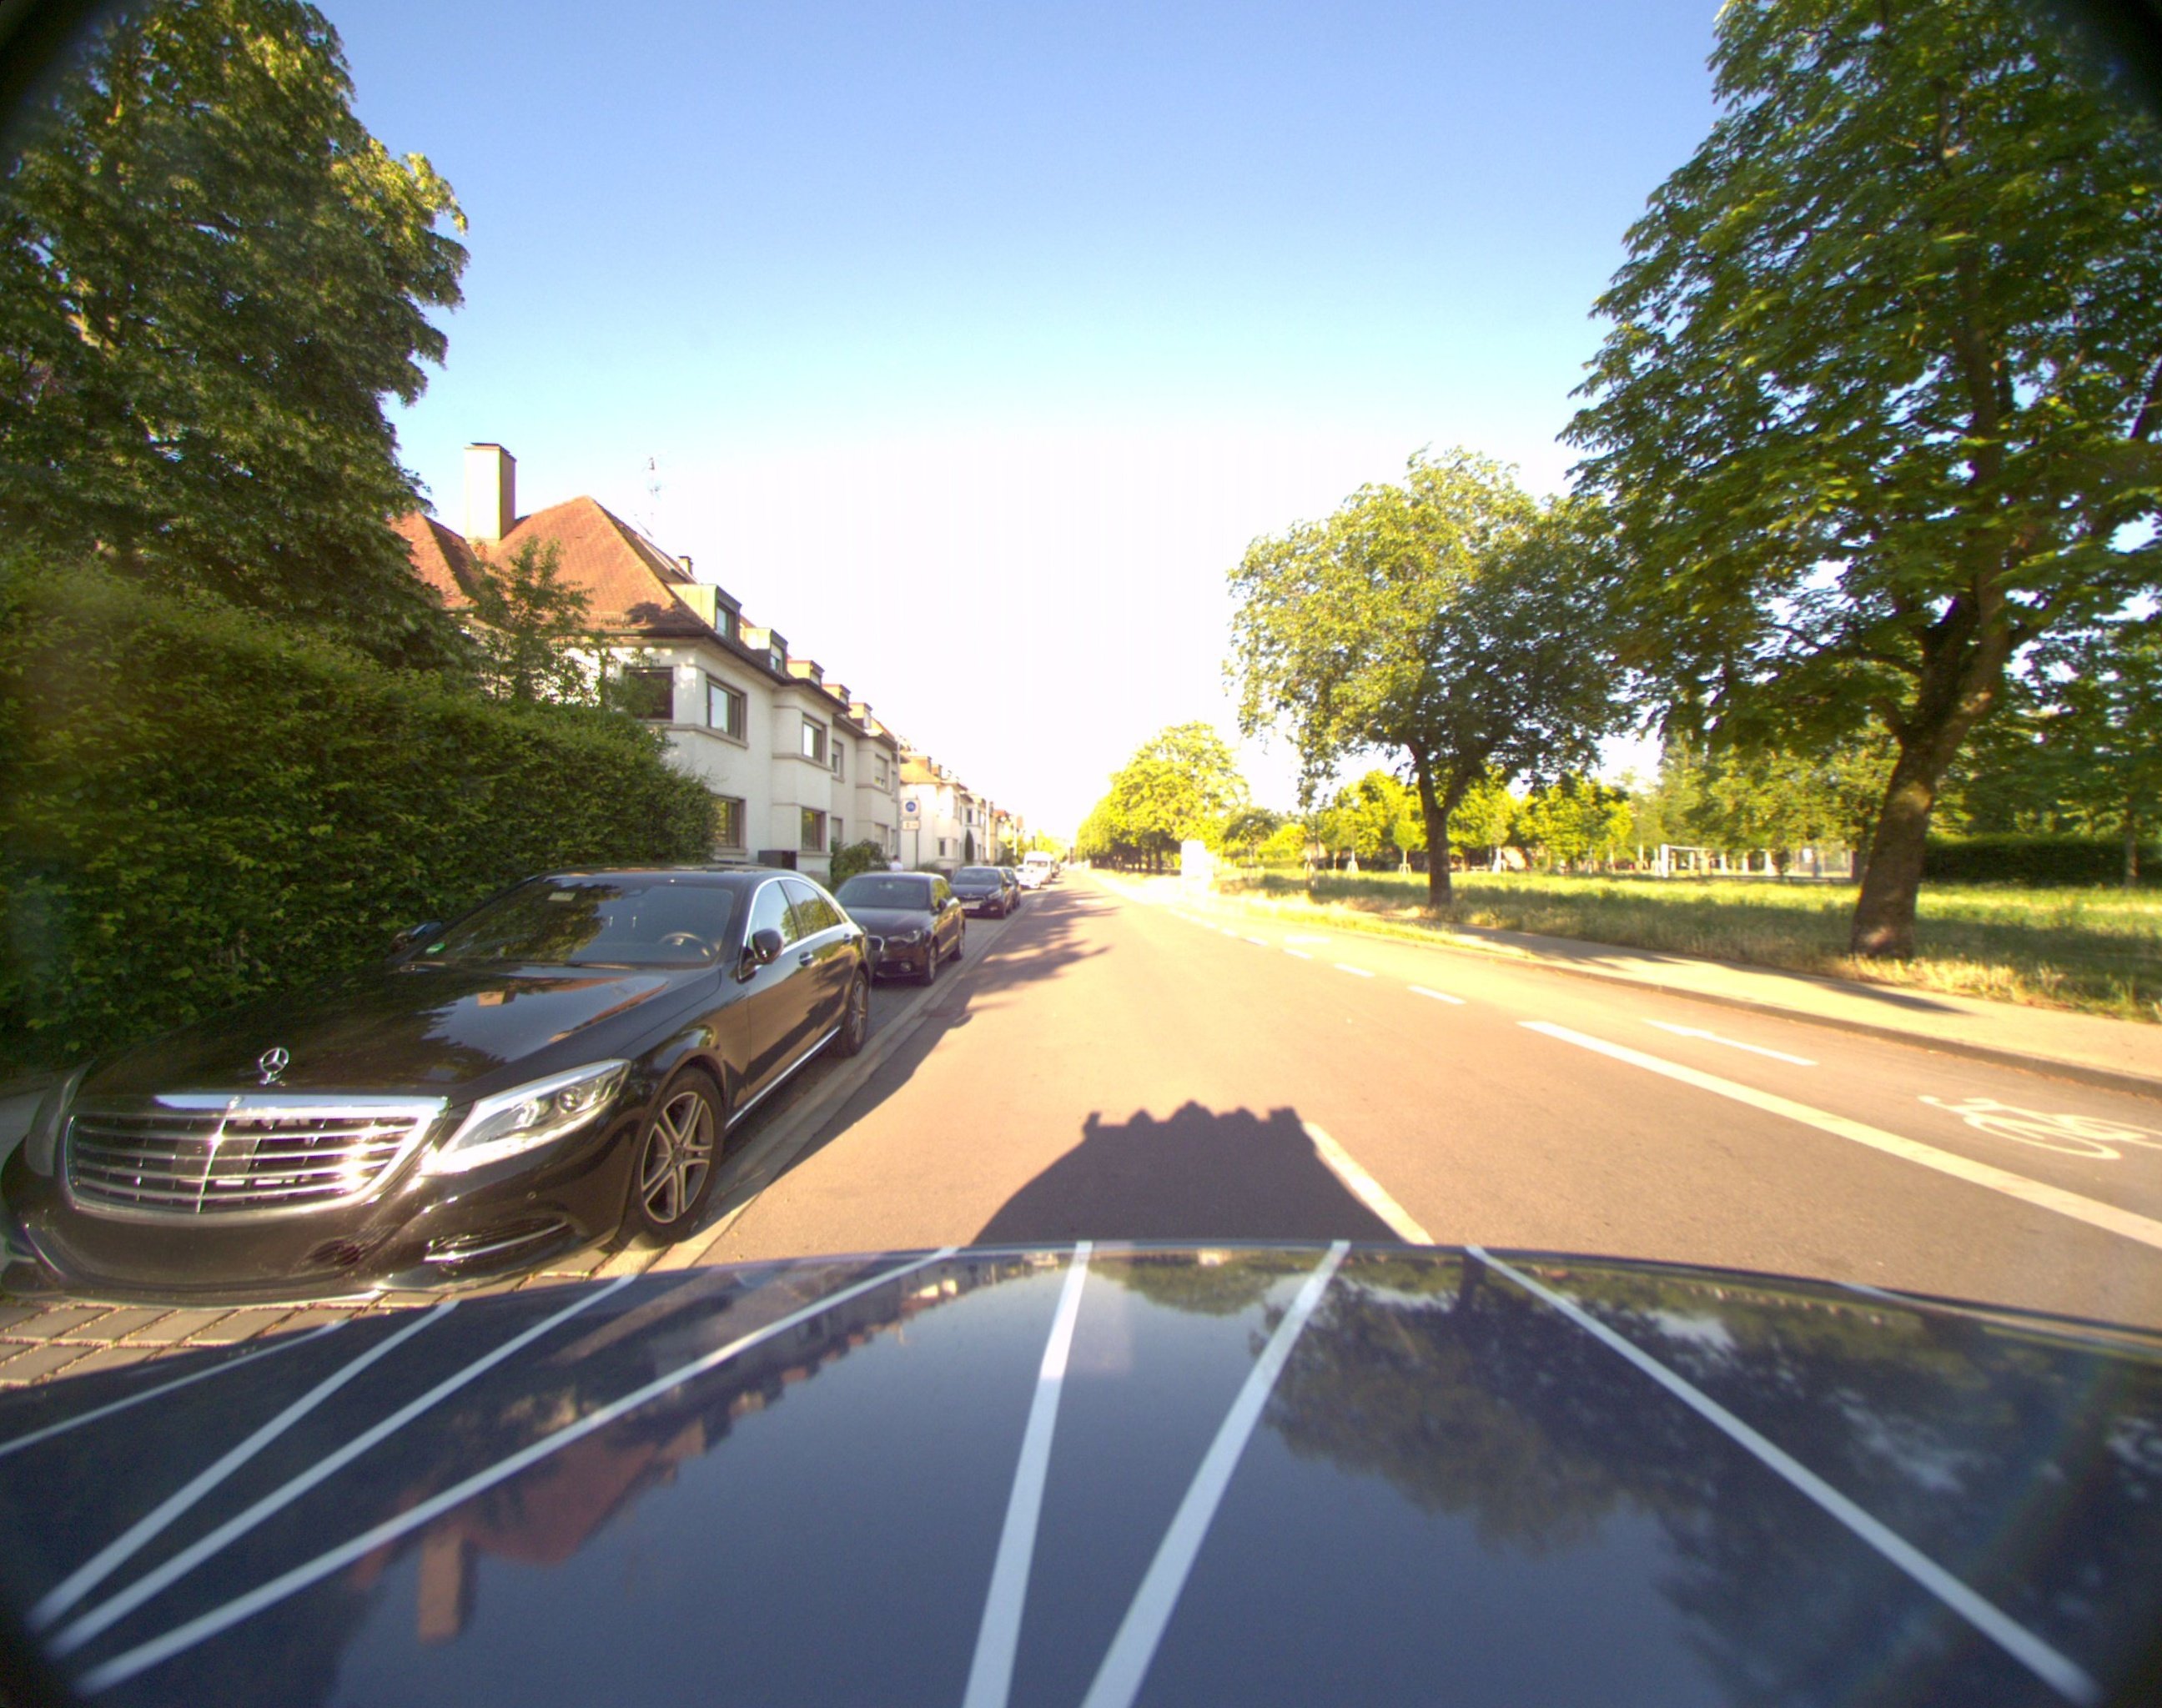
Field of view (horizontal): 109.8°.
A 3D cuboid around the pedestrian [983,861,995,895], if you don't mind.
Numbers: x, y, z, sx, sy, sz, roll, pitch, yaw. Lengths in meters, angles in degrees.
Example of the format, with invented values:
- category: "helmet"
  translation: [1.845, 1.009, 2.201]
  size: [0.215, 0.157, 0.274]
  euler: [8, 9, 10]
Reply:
- category: "pedestrian"
  translation: [-4.944, 1.293, 40.980]
  size: [0.531, 1.787, 0.589]
  euler: [-2, 1, -2]

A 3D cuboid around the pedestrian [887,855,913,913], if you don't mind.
- category: "pedestrian"
  translation: [-5.959, 0.981, 25.030]
  size: [0.587, 1.835, 0.823]
  euler: [-2, 1, 1]

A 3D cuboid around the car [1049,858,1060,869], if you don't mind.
- category: "car"
  translation: [-4.094, 1.450, 117.246]
  size: [1.682, 1.543, 3.842]
  euler: [1, 0, -3]

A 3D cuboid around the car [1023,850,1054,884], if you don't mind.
- category: "car"
  translation: [-3.269, 0.969, 59.790]
  size: [2.132, 2.461, 5.723]
  euler: [-2, 1, -1]

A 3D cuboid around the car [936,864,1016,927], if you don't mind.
- category: "car"
  translation: [-2.939, 1.114, 22.030]
  size: [1.796, 1.586, 4.077]
  euler: [-2, -1, -1]

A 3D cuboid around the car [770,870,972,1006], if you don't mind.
- category: "car"
  translation: [-2.712, 1.011, 10.774]
  size: [1.784, 1.469, 4.000]
  euler: [-2, -1, -1]

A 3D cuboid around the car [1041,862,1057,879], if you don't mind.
- category: "car"
  translation: [-3.711, 1.877, 88.948]
  size: [1.708, 1.848, 3.712]
  euler: [-2, 1, 0]

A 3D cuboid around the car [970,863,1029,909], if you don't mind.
- category: "car"
  translation: [-2.903, 1.113, 27.656]
  size: [1.680, 1.525, 3.472]
  euler: [-2, -1, 1]

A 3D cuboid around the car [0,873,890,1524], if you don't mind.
- category: "car"
  translation: [-2.601, 0.919, 4.321]
  size: [2.009, 1.489, 4.914]
  euler: [2, 0, -3]

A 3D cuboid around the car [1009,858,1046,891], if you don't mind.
- category: "car"
  translation: [-3.220, 1.202, 46.667]
  size: [1.999, 1.775, 3.999]
  euler: [-2, 1, -1]
